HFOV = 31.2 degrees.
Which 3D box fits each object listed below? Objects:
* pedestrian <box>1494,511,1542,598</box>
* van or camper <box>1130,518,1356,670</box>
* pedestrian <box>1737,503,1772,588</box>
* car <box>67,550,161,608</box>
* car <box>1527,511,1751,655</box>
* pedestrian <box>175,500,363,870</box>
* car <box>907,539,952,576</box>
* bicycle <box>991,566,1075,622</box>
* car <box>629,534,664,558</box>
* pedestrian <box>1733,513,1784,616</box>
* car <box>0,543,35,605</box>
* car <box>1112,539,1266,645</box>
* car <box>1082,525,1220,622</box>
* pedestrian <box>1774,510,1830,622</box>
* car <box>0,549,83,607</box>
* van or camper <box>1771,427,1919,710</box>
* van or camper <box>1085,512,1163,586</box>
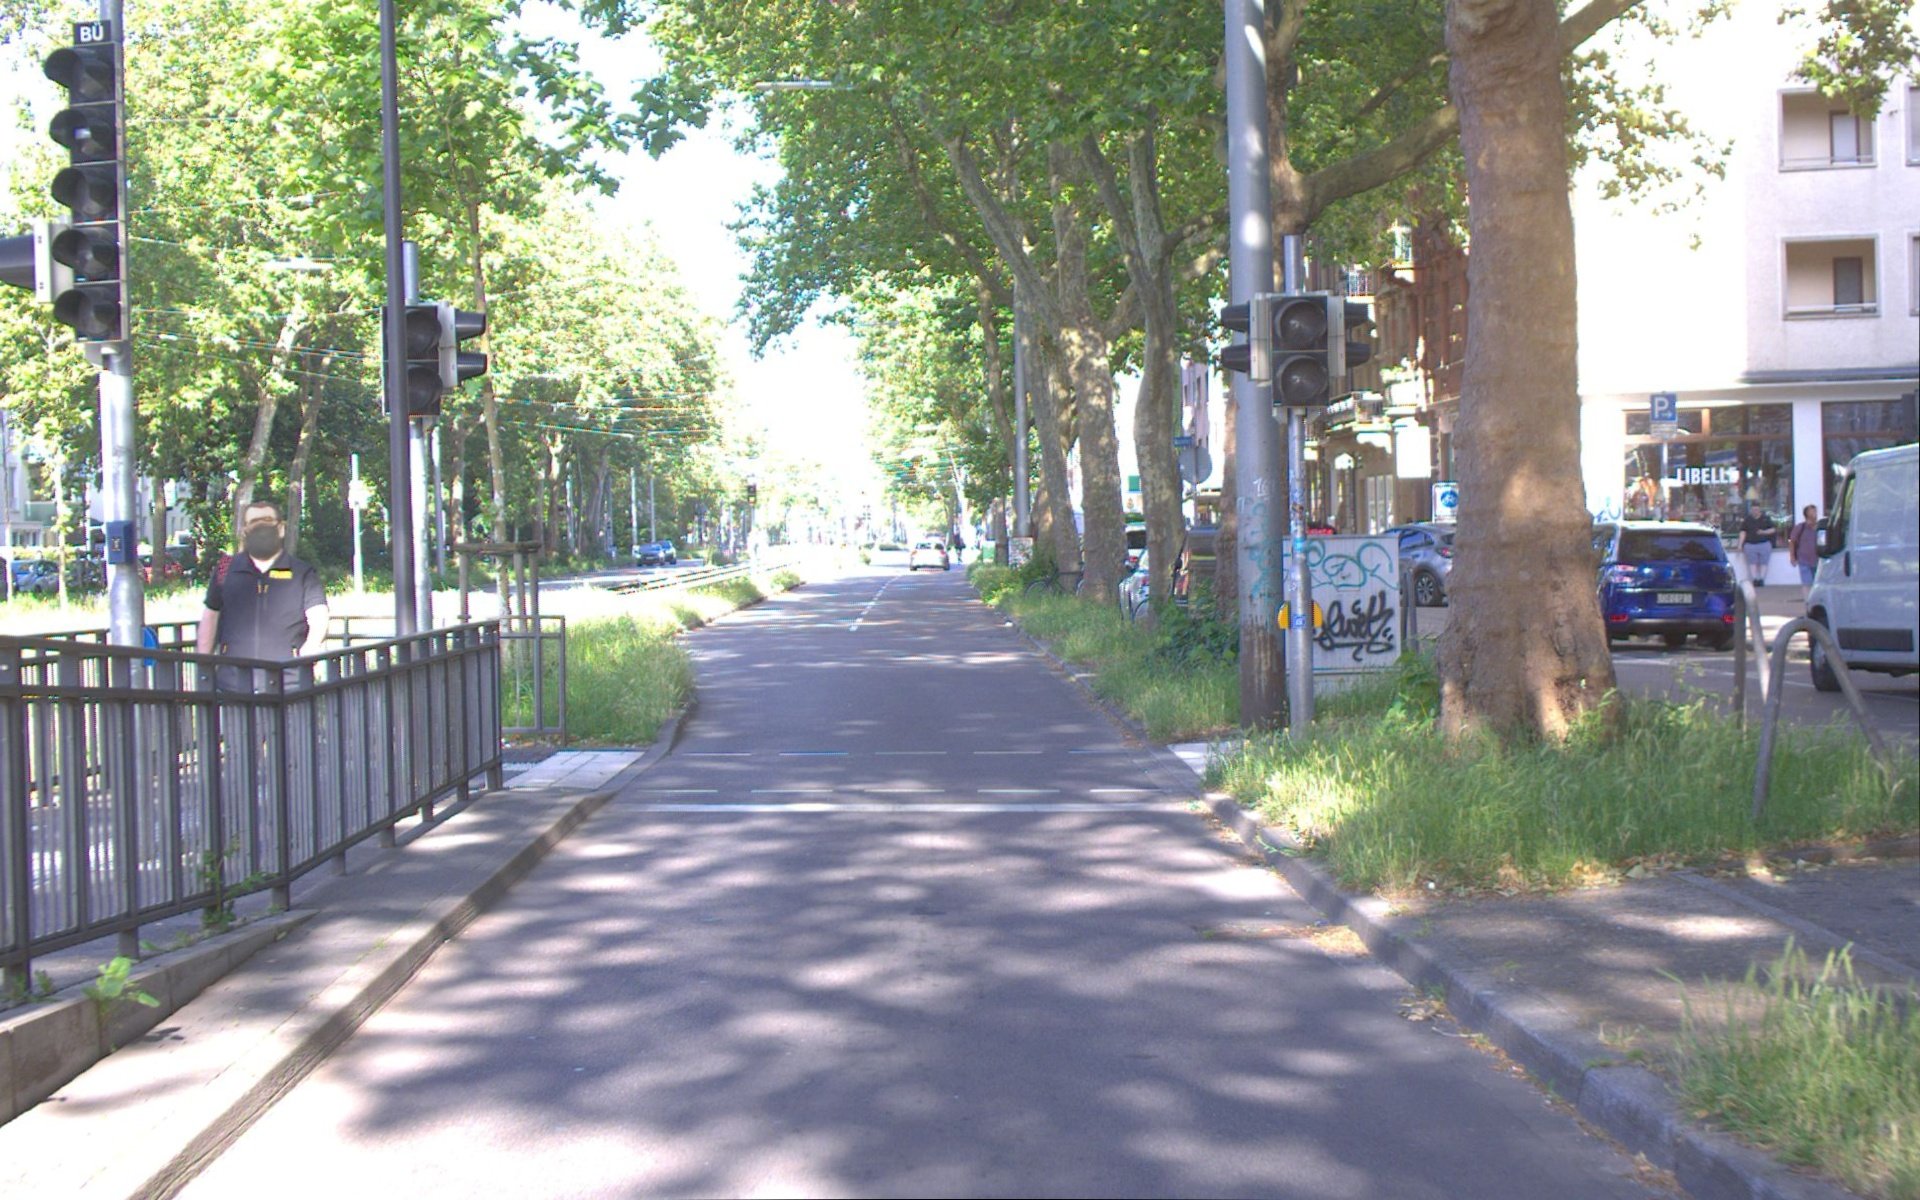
[{"bbox_3d":[11.083,-0.906,68.329,0.795,1.698,0.724,-1,1,0],"label":"pedestrian"},{"bbox_3d":[3.090,-0.085,38.008,1.500,1.582,2.841,-1,1,-18],"label":"van or camper"},{"bbox_3d":[15.530,-1.070,67.213,0.591,1.644,0.724,-1,1,10],"label":"pedestrian"},{"bbox_3d":[-28.046,-0.719,114.123,2.108,1.802,4.739,-1,1,-2],"label":"car"},{"bbox_3d":[8.788,-0.251,44.933,1.819,1.736,5.168,-1,1,-1],"label":"car"},{"bbox_3d":[-3.215,0.381,16.059,0.712,1.674,0.772,-1,1,-2],"label":"pedestrian"},{"bbox_3d":[-1.407,-1.999,159.640,2.021,1.656,4.000,-1,1,-1],"label":"car"},{"bbox_3d":[1.432,-0.118,67.144,1.594,1.055,0.404,-1,1,7],"label":"bicycle"},{"bbox_3d":[-20.998,-3.625,230.271,1.795,1.503,4.339,-4,1,1],"label":"car"},{"bbox_3d":[13.501,-0.609,58.124,0.667,1.722,0.717,-1,1,28],"label":"pedestrian"},{"bbox_3d":[-27.885,-0.729,97.633,1.768,1.713,4.420,-1,1,4],"label":"car"},{"bbox_3d":[3.177,-0.155,48.557,1.753,1.393,5.026,-1,1,-1],"label":"car"},{"bbox_3d":[3.384,-0.499,61.661,1.902,1.630,4.825,-1,1,-3],"label":"car"},{"bbox_3d":[12.645,-0.515,51.654,0.679,1.645,0.905,-1,1,6],"label":"pedestrian"},{"bbox_3d":[-28.019,-0.667,103.128,1.994,1.610,4.420,-1,1,4],"label":"car"},{"bbox_3d":[8.825,-0.291,29.391,2.291,2.279,5.823,-1,1,-1],"label":"van or camper"},{"bbox_3d":[4.826,-1.499,101.543,1.833,2.090,4.775,2,1,-2],"label":"van or camper"}]
